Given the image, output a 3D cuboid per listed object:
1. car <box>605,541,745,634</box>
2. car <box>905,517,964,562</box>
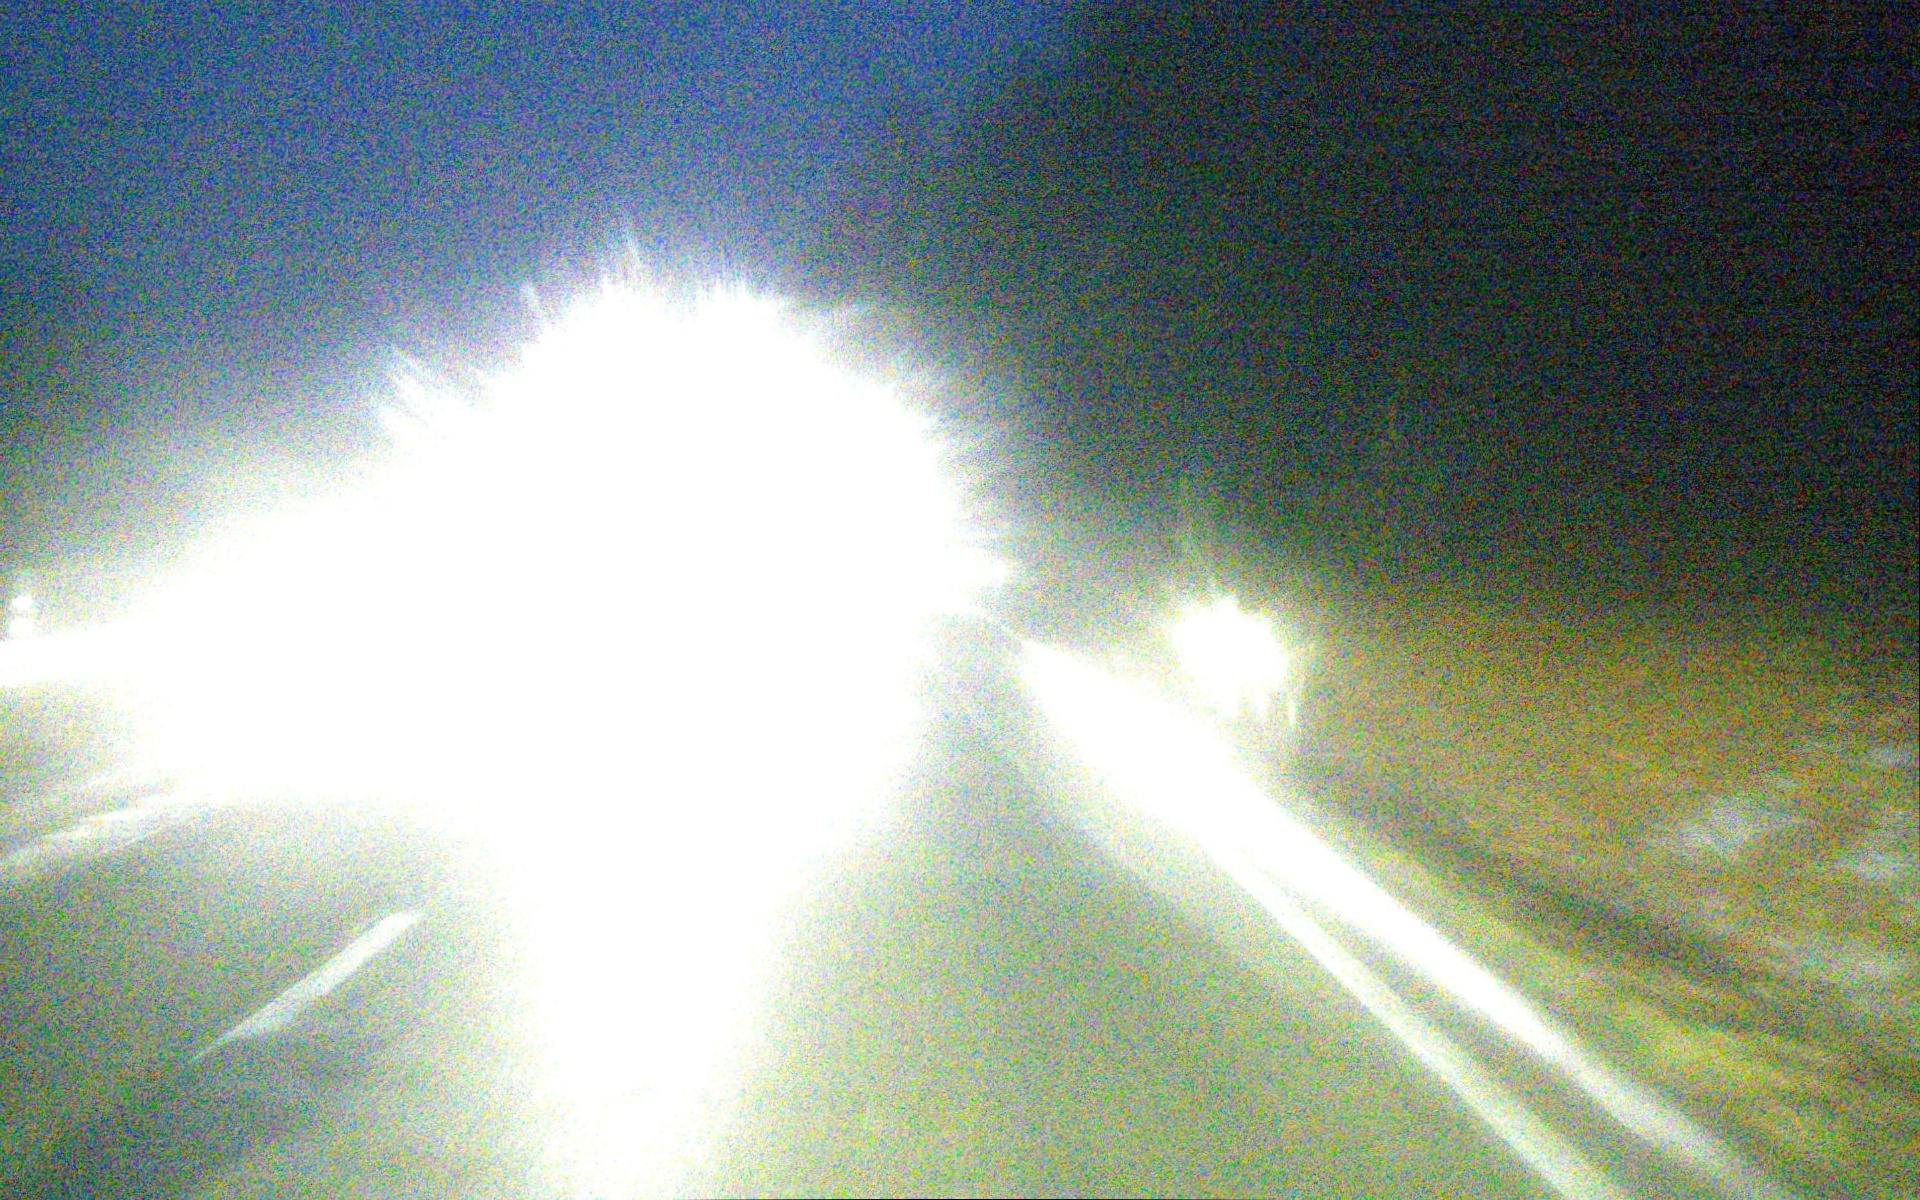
[{"bbox_3d":[-4.683,-0.233,57.058,1.993,1.443,4.430,1,1,-1],"label":"car"},{"bbox_3d":[-0.910,-2.219,125.758,1.993,1.612,4.000,0,1,2],"label":"car"}]
